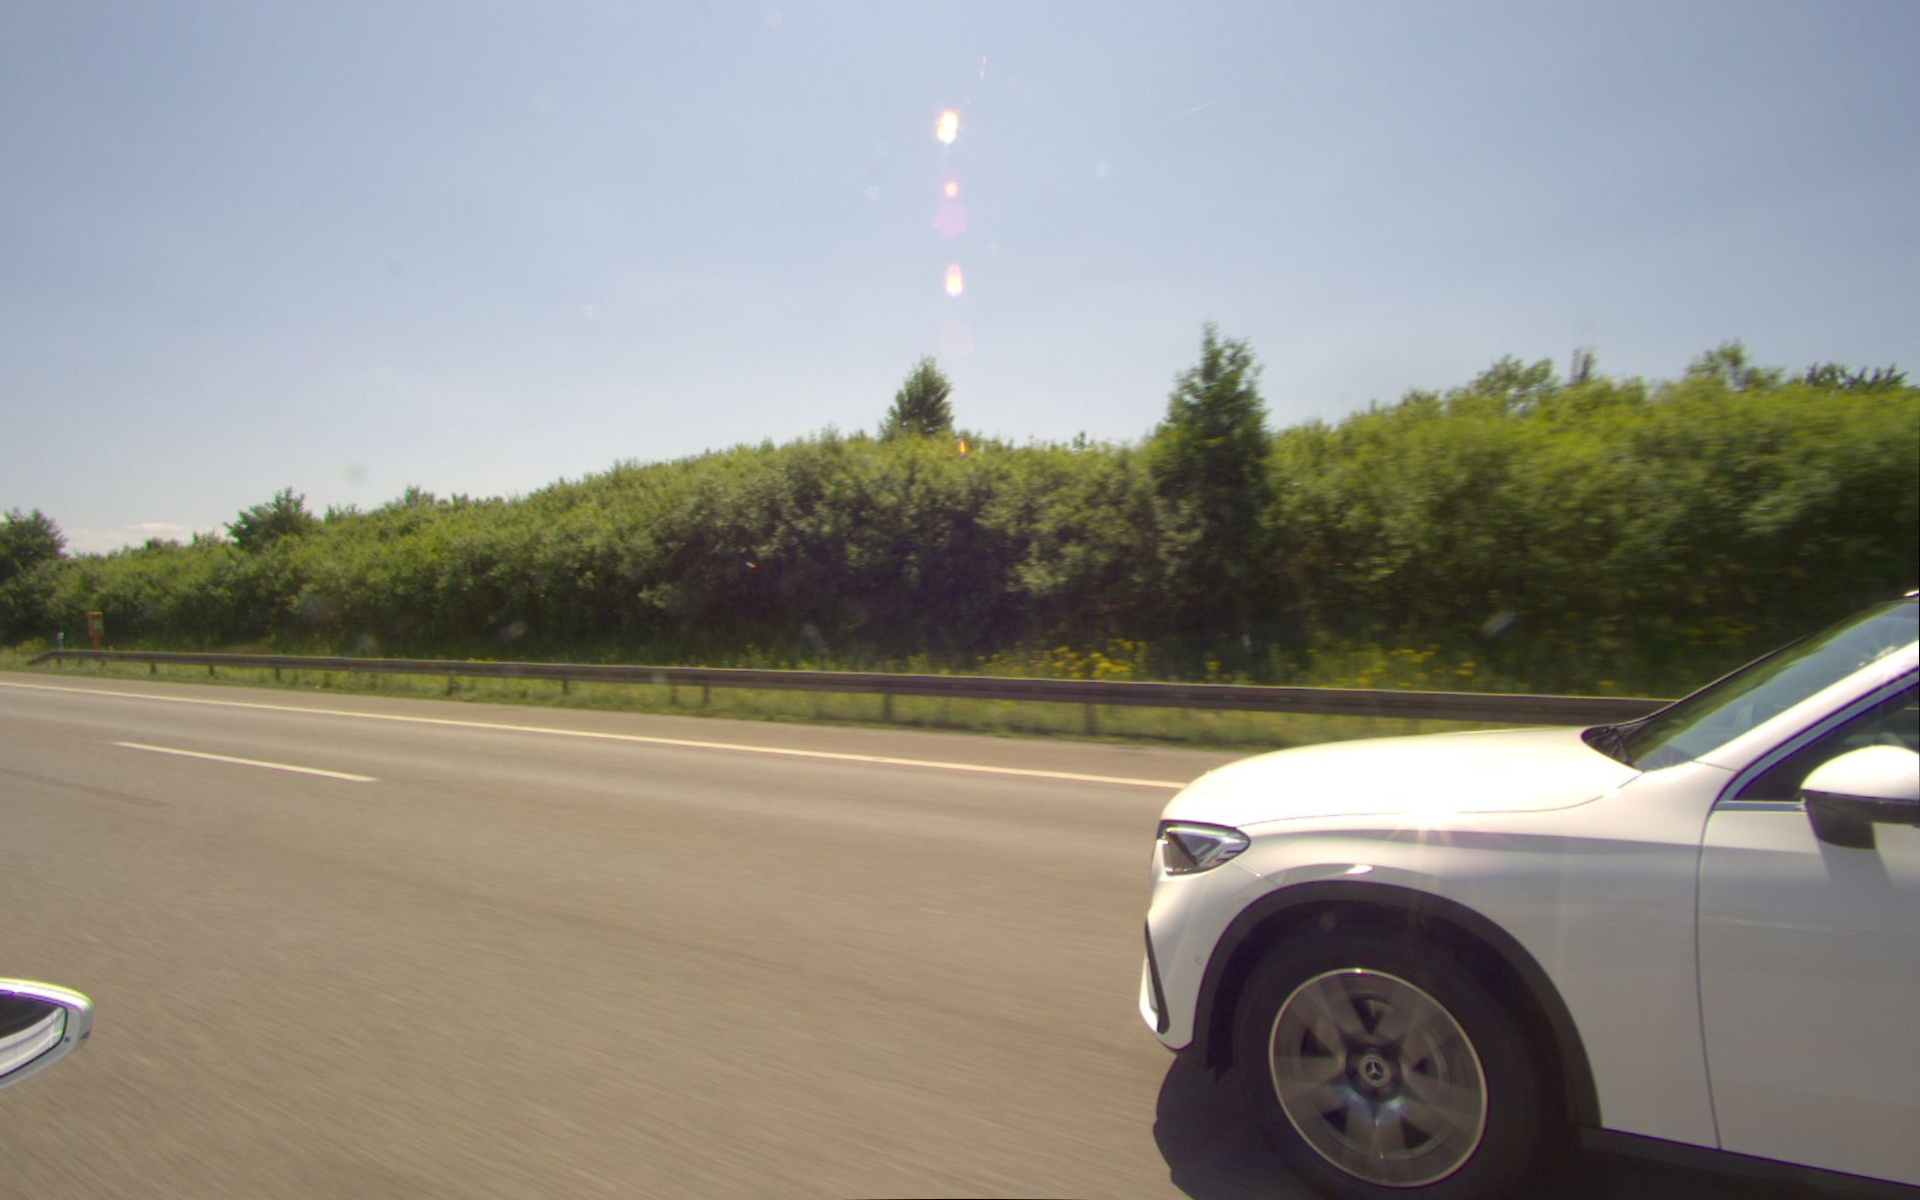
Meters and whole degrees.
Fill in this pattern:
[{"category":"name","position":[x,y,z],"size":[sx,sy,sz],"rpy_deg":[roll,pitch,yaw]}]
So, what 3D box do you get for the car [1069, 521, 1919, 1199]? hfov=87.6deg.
[{"category":"car","position":[2.735,0.708,2.441],"size":[4.570,1.677,1.901],"rpy_deg":[-1,-2,32]}]
